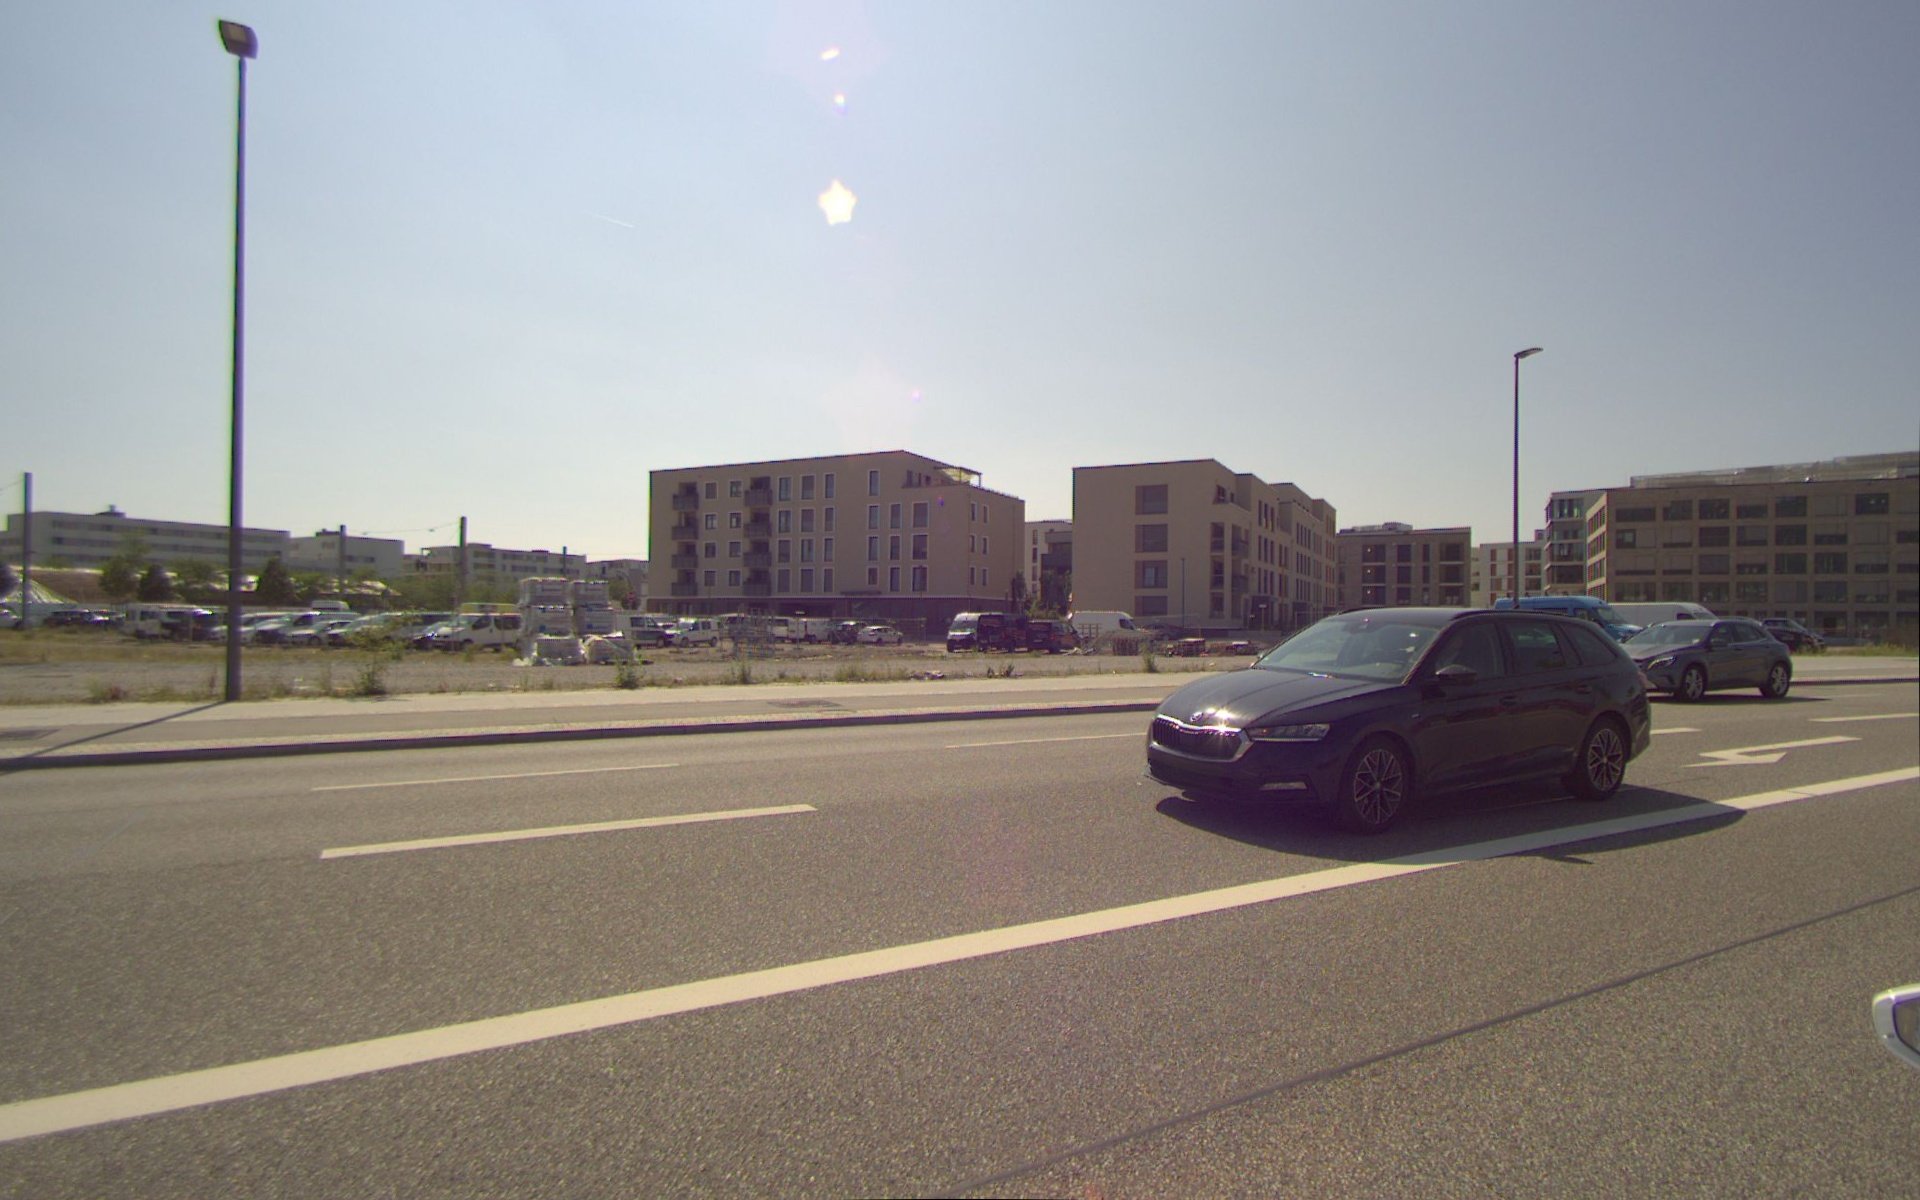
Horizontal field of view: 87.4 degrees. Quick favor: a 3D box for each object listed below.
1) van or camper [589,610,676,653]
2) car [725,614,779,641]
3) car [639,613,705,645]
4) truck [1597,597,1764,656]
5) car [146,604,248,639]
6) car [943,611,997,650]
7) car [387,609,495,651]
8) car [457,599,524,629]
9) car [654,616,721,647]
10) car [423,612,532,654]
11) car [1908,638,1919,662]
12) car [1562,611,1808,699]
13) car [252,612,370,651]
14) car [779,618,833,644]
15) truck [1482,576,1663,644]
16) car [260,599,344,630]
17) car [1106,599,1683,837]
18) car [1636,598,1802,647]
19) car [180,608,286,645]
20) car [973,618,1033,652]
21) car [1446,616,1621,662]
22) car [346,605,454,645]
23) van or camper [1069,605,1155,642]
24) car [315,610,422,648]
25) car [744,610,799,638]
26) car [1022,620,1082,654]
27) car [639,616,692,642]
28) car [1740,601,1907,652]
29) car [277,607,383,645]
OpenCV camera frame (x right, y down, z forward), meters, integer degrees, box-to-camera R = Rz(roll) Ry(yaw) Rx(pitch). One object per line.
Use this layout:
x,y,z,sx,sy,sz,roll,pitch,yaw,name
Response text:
-19.388,1.823,59.738,1.963,2.314,4.929,2,1,28,van or camper
-16.339,2.122,78.920,1.965,2.040,3.991,1,0,31,car
-18.703,1.860,65.462,1.963,2.040,3.996,0,-1,26,car
31.421,1.159,44.020,2.249,2.394,5.539,1,-2,-31,truck
-47.110,1.281,62.096,1.963,1.996,4.647,2,1,28,car
0.678,1.908,64.286,1.962,2.271,3.996,2,1,25,car
-26.572,1.529,51.624,1.963,2.040,4.648,0,-1,28,car
-33.393,1.005,71.570,1.963,2.040,3.996,0,-1,26,car
-17.528,2.033,64.775,1.963,1.906,3.995,0,-1,28,car
-24.106,1.632,50.377,1.963,2.040,4.648,0,-1,28,car
55.350,2.767,55.310,4.168,1.335,1.998,0,-1,26,car
13.846,1.012,19.177,4.326,1.515,1.898,1,-2,-24,car
-36.862,1.746,57.204,1.963,1.996,5.389,2,1,28,car
-11.532,2.303,75.475,1.965,1.811,3.991,1,0,31,car
24.929,0.437,41.158,2.250,2.577,5.971,1,-2,-32,truck
-44.652,1.014,68.286,1.805,1.996,4.476,0,-1,28,car
3.510,0.747,7.914,4.515,1.417,1.779,1,0,-29,car
35.744,1.047,47.518,2.369,2.194,5.851,0,-1,-32,car
-42.483,1.481,58.844,1.963,1.996,4.647,2,1,28,car
2.632,2.054,60.451,1.965,1.873,3.991,1,0,31,car
22.223,1.453,39.179,2.083,1.494,5.620,1,1,-31,car
-29.461,1.331,52.962,1.963,1.996,4.648,0,-1,28,car
10.946,1.708,72.377,5.812,2.592,1.936,0,-1,20,van or camper
-32.191,1.558,54.809,1.963,1.996,4.648,0,-1,28,car
-14.322,1.818,76.580,1.965,2.040,3.991,1,0,31,car
5.429,2.137,58.954,1.965,1.873,3.991,1,0,31,car
-24.427,2.393,83.379,1.965,2.040,3.991,1,0,31,car
39.755,1.205,46.397,2.369,2.202,5.412,1,-2,-33,car
-34.744,1.449,55.533,1.963,1.996,4.648,0,-1,28,car
